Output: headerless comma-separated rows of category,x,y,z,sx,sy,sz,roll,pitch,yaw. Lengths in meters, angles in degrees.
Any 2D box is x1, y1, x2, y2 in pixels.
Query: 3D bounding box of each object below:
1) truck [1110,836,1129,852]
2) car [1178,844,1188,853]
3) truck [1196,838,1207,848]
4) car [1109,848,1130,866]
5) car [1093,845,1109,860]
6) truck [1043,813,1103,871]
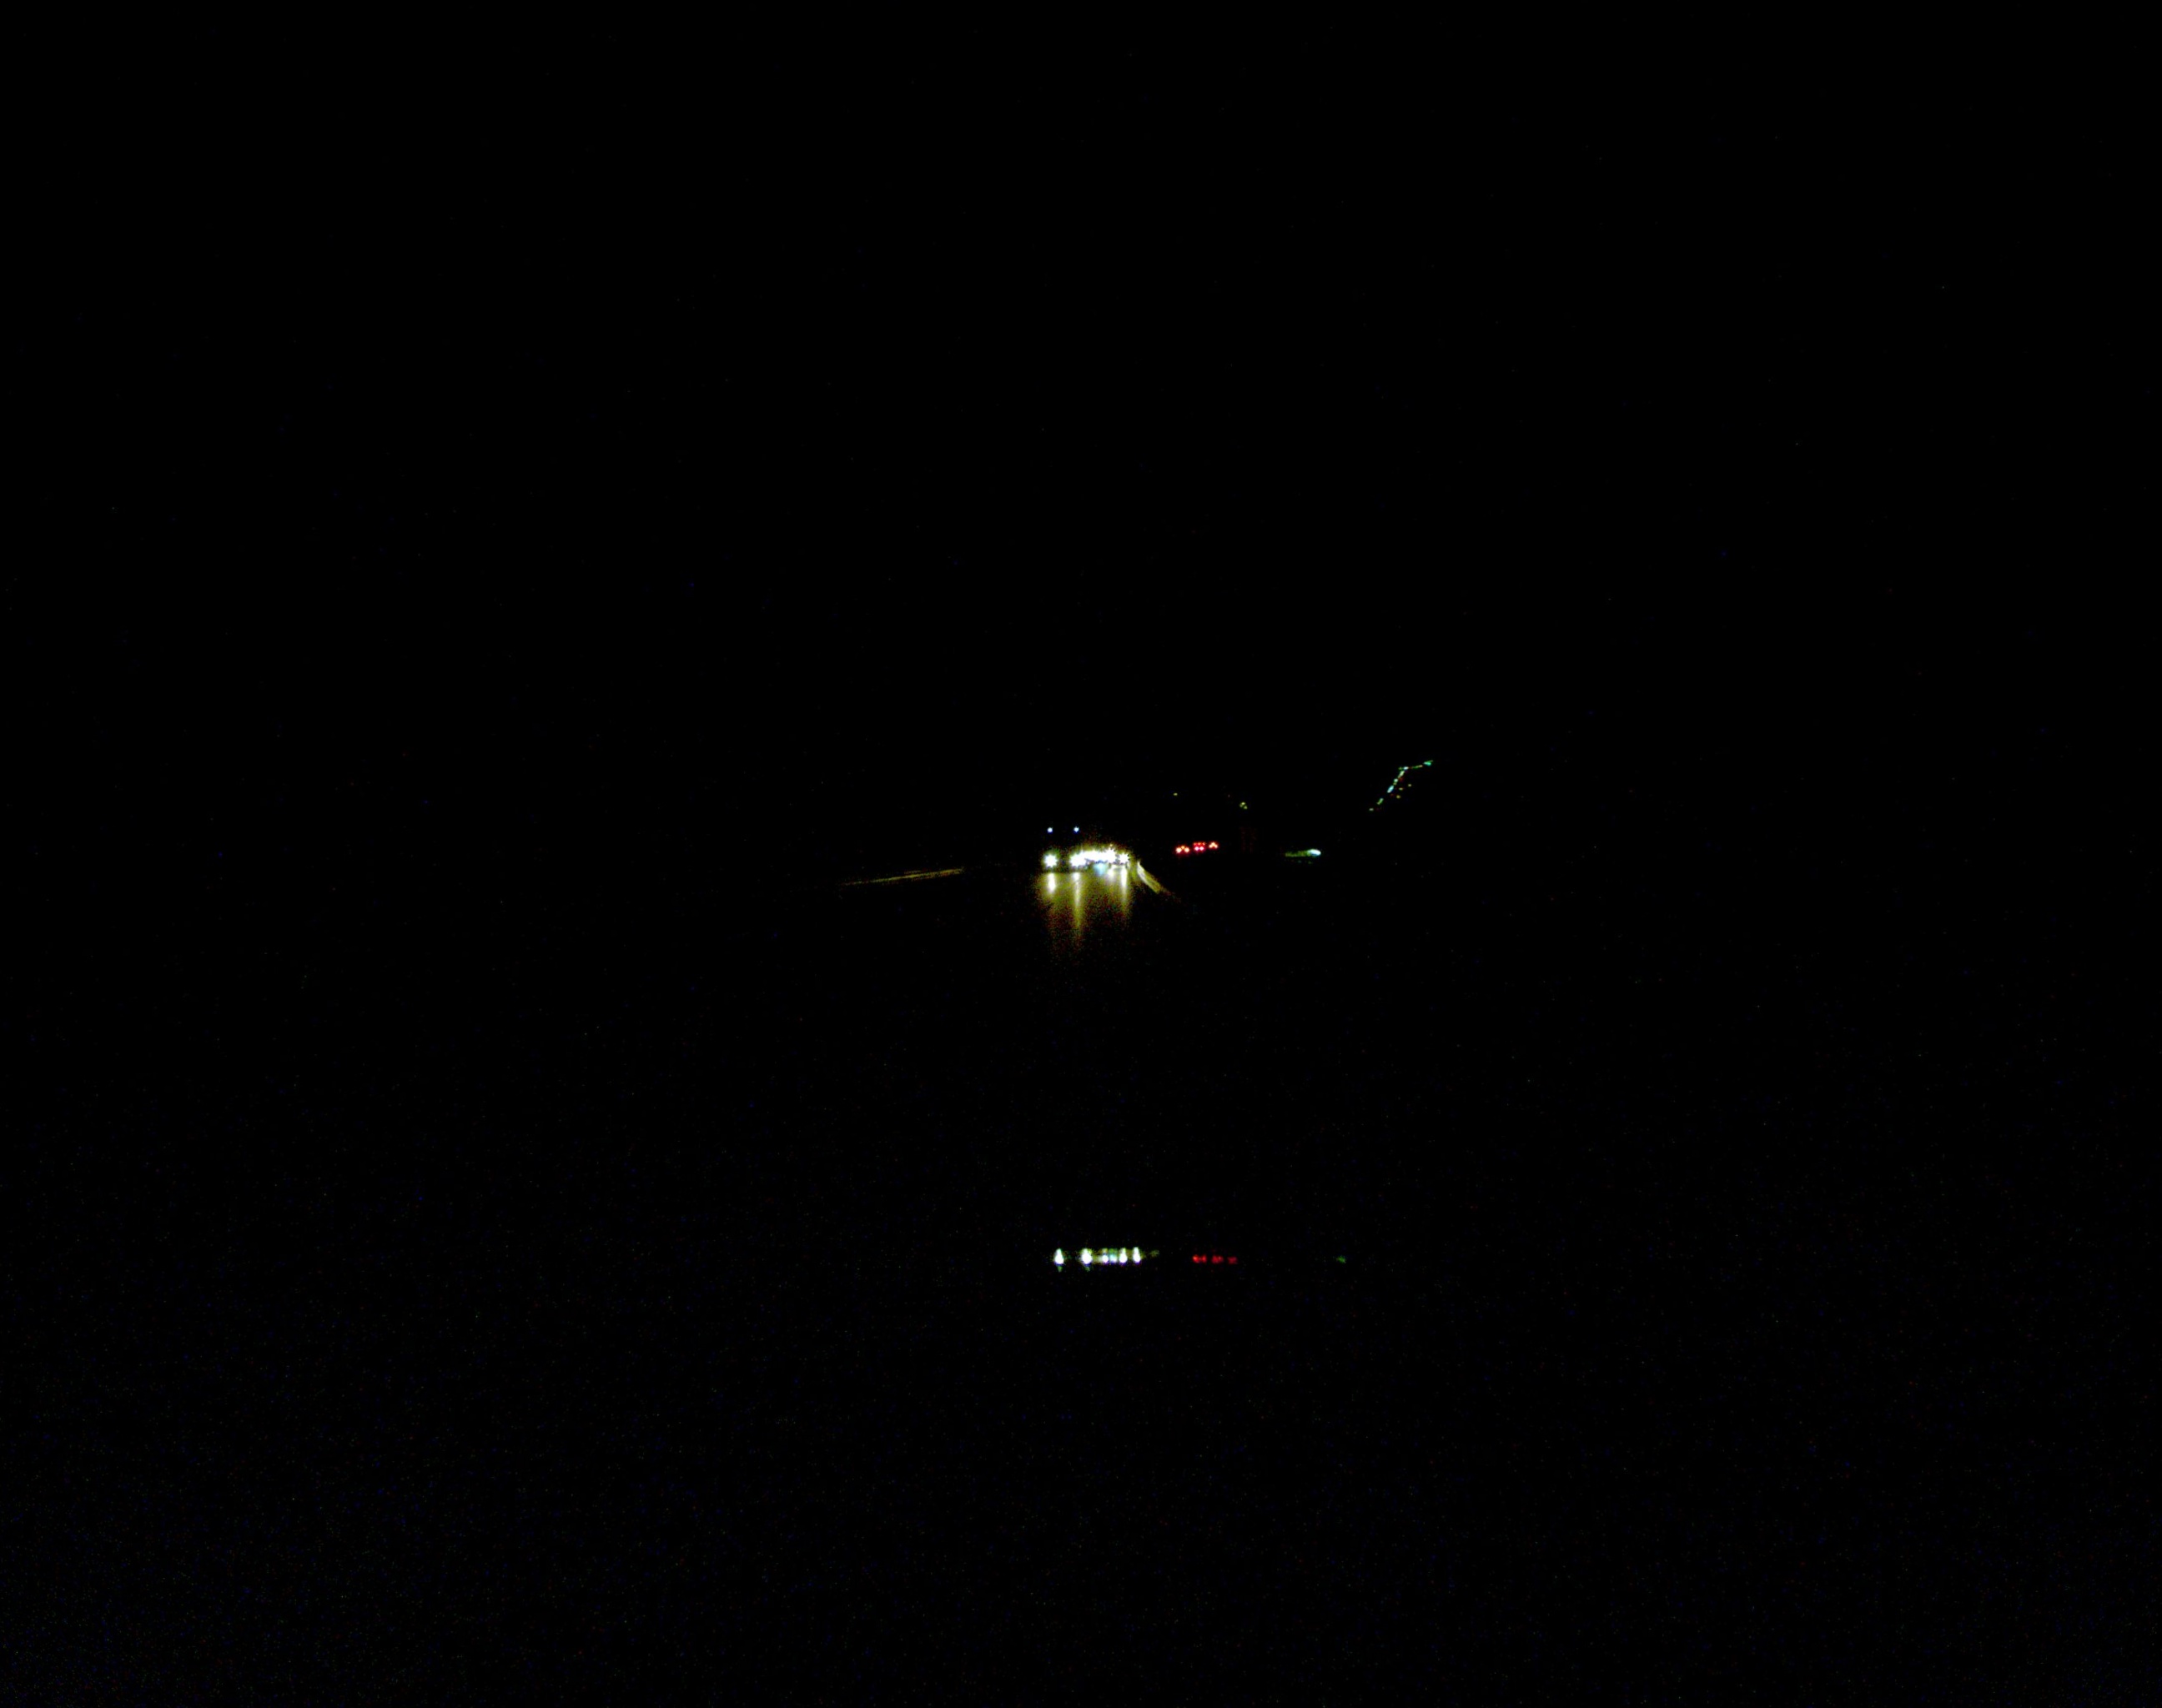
truck,6.156,-1.533,120.474,2.425,2.410,7.094,-1,0,6
car,19.361,-1.077,144.320,1.811,1.508,3.938,-1,-1,9
truck,30.321,-2.781,191.362,2.304,2.460,6.276,-1,2,13
car,3.451,0.264,67.857,1.812,1.508,3.937,-1,-1,4
car,2.339,-0.169,88.967,1.691,1.619,4.724,-1,-1,3
truck,-0.353,-1.050,64.414,2.970,4.250,17.149,-1,1,6
